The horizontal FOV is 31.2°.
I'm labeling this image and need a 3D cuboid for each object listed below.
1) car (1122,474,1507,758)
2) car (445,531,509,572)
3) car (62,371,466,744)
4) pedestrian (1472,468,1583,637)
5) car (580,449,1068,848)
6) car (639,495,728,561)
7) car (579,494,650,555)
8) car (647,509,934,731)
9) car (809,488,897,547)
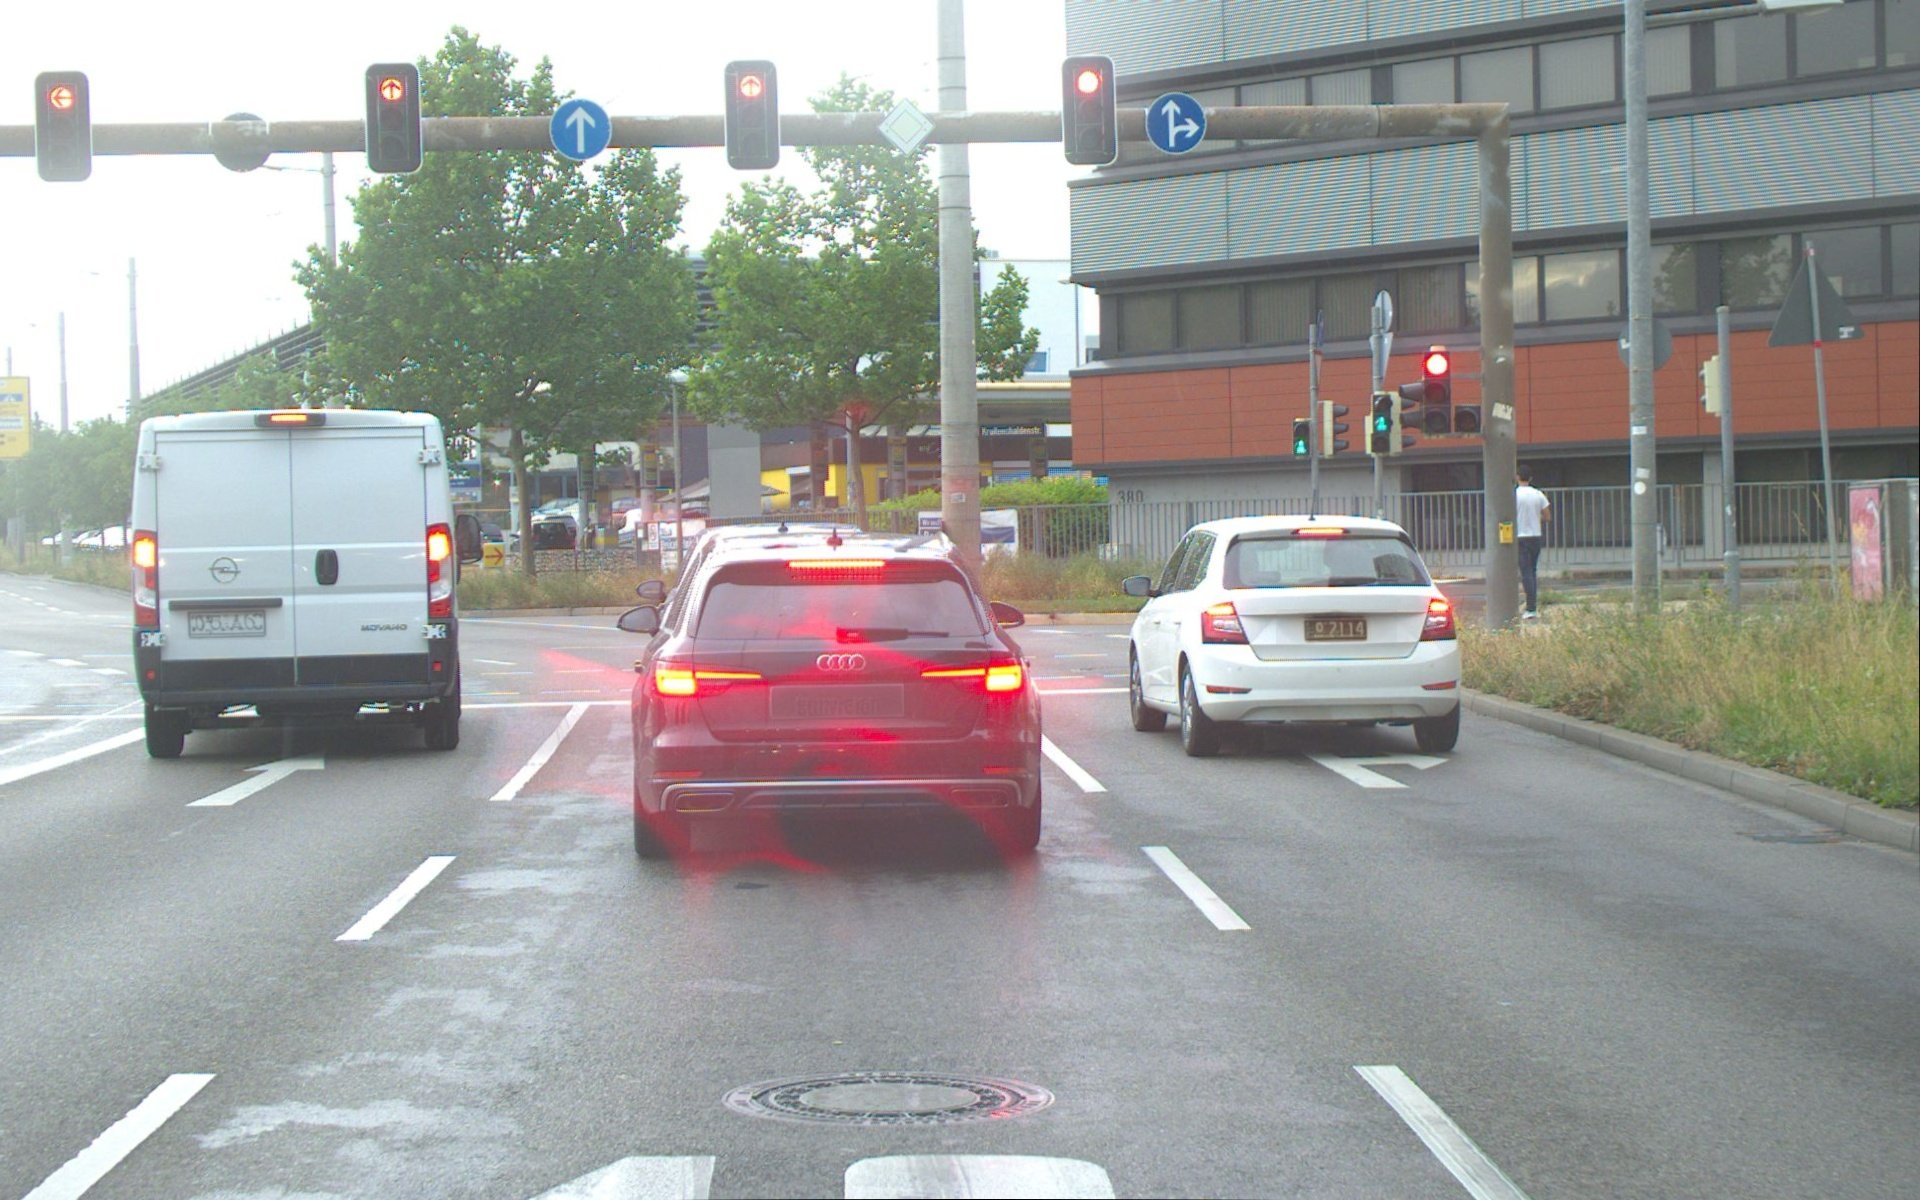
[{"bbox_3d":[2.175,0.086,22.153,1.829,1.650,4.000,0,0,-3],"label":"car"},{"bbox_3d":[-19.829,-1.987,141.074,1.791,1.586,4.001,-2,1,-20],"label":"car"},{"bbox_3d":[-4.723,-0.272,23.987,2.444,2.286,4.906,1,0,-9],"label":"car"},{"bbox_3d":[7.337,-0.627,44.528,1.143,2.118,1.222,-2,3,-2],"label":"pedestrian"},{"bbox_3d":[-0.624,0.193,16.105,1.993,1.632,4.000,0,0,-2],"label":"car"},{"bbox_3d":[-8.868,-2.304,110.003,1.993,2.025,4.001,-2,1,-16],"label":"car"},{"bbox_3d":[-11.947,-2.597,118.673,1.678,2.007,3.543,1,0,-18],"label":"car"},{"bbox_3d":[-1.148,0.119,24.855,1.894,1.460,3.909,-1,0,0],"label":"car"},{"bbox_3d":[-3.830,-2.912,122.373,1.869,2.007,3.775,1,0,-23],"label":"car"}]
